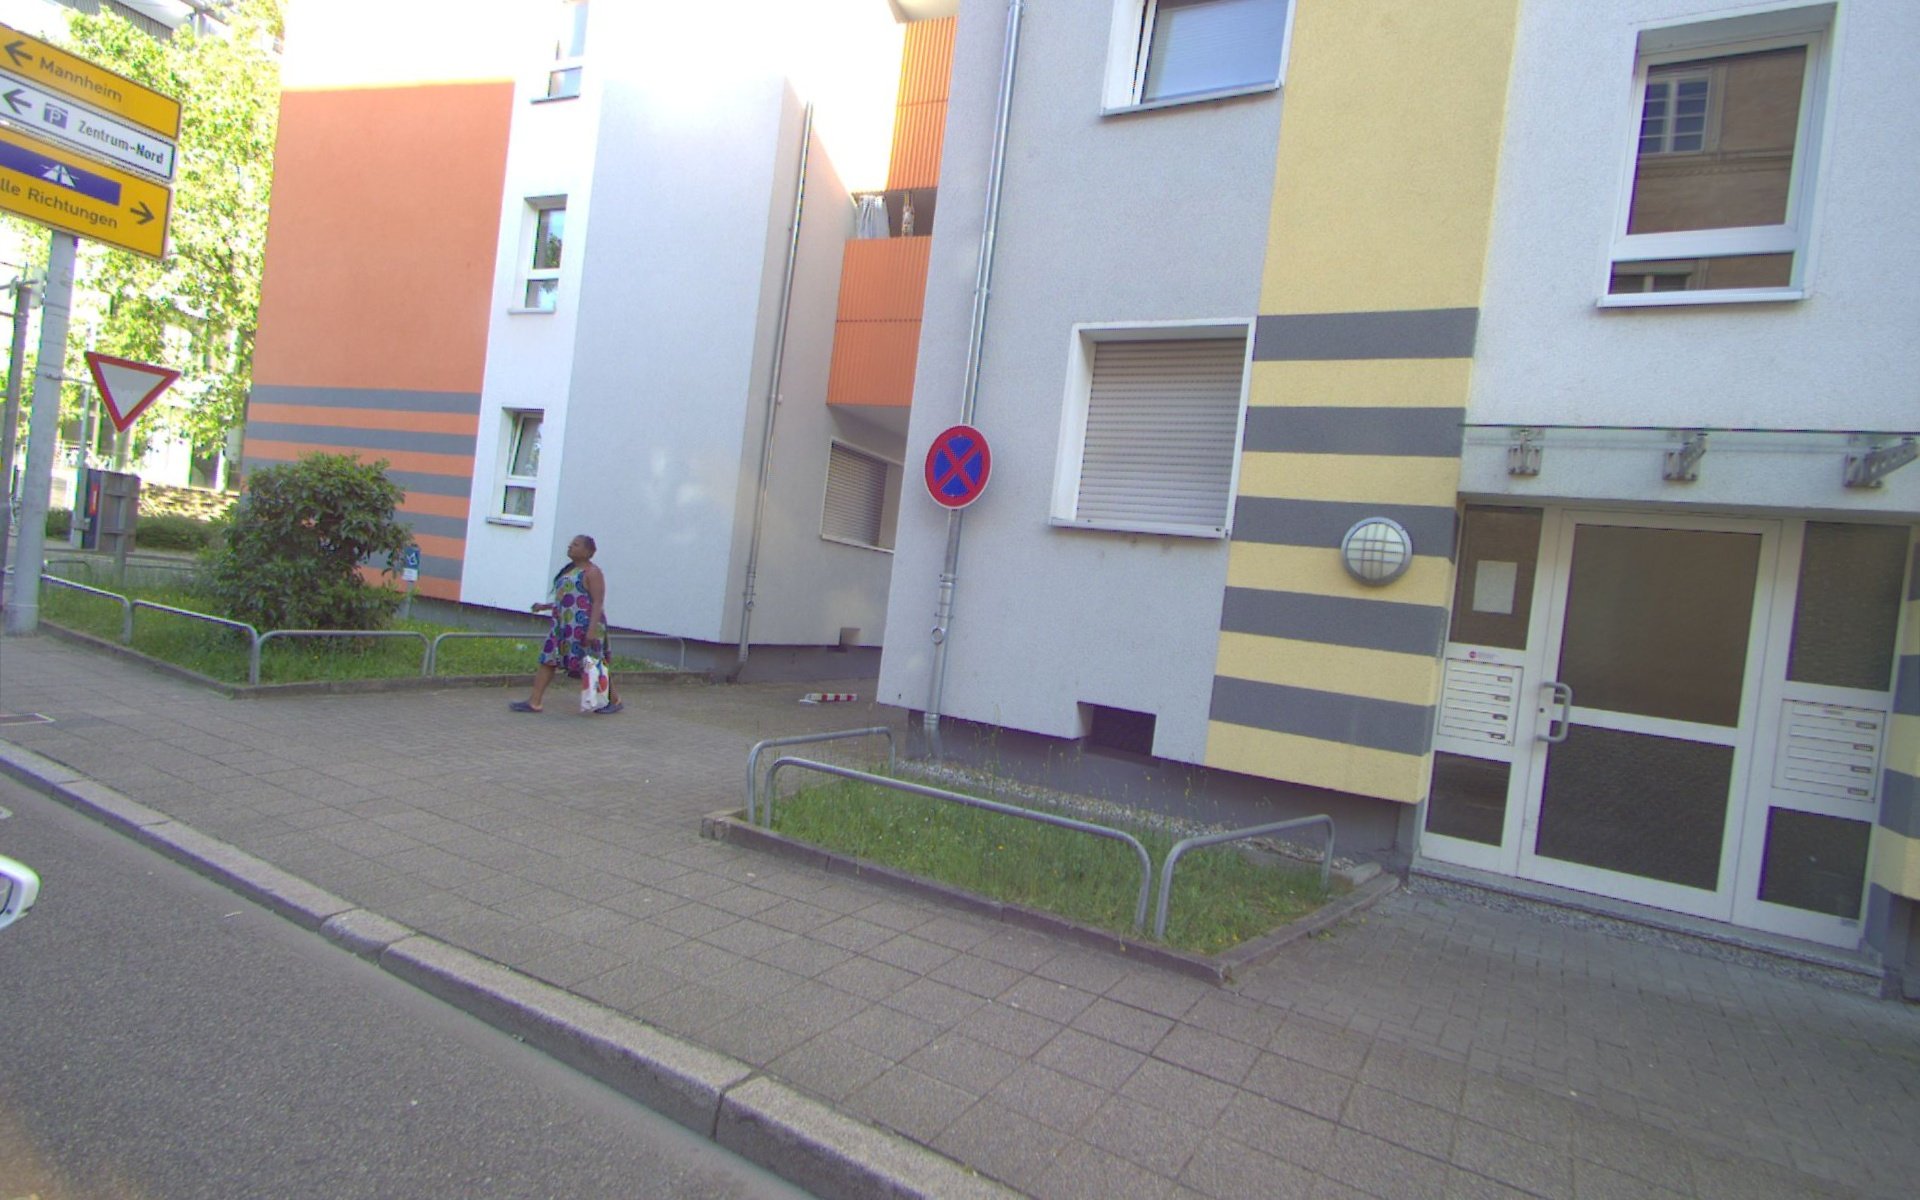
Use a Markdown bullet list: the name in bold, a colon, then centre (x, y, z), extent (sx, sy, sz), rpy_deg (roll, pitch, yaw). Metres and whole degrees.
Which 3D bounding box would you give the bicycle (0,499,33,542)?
- **bicycle**: centre (-26.435, -2.248, 27.289), extent (1.883, 1.062, 0.463), rpy_deg (7, 1, -10)

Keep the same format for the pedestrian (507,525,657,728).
- **pedestrian**: centre (-3.284, 0.212, 8.725), extent (0.943, 1.595, 0.746), rpy_deg (8, 4, 39)
